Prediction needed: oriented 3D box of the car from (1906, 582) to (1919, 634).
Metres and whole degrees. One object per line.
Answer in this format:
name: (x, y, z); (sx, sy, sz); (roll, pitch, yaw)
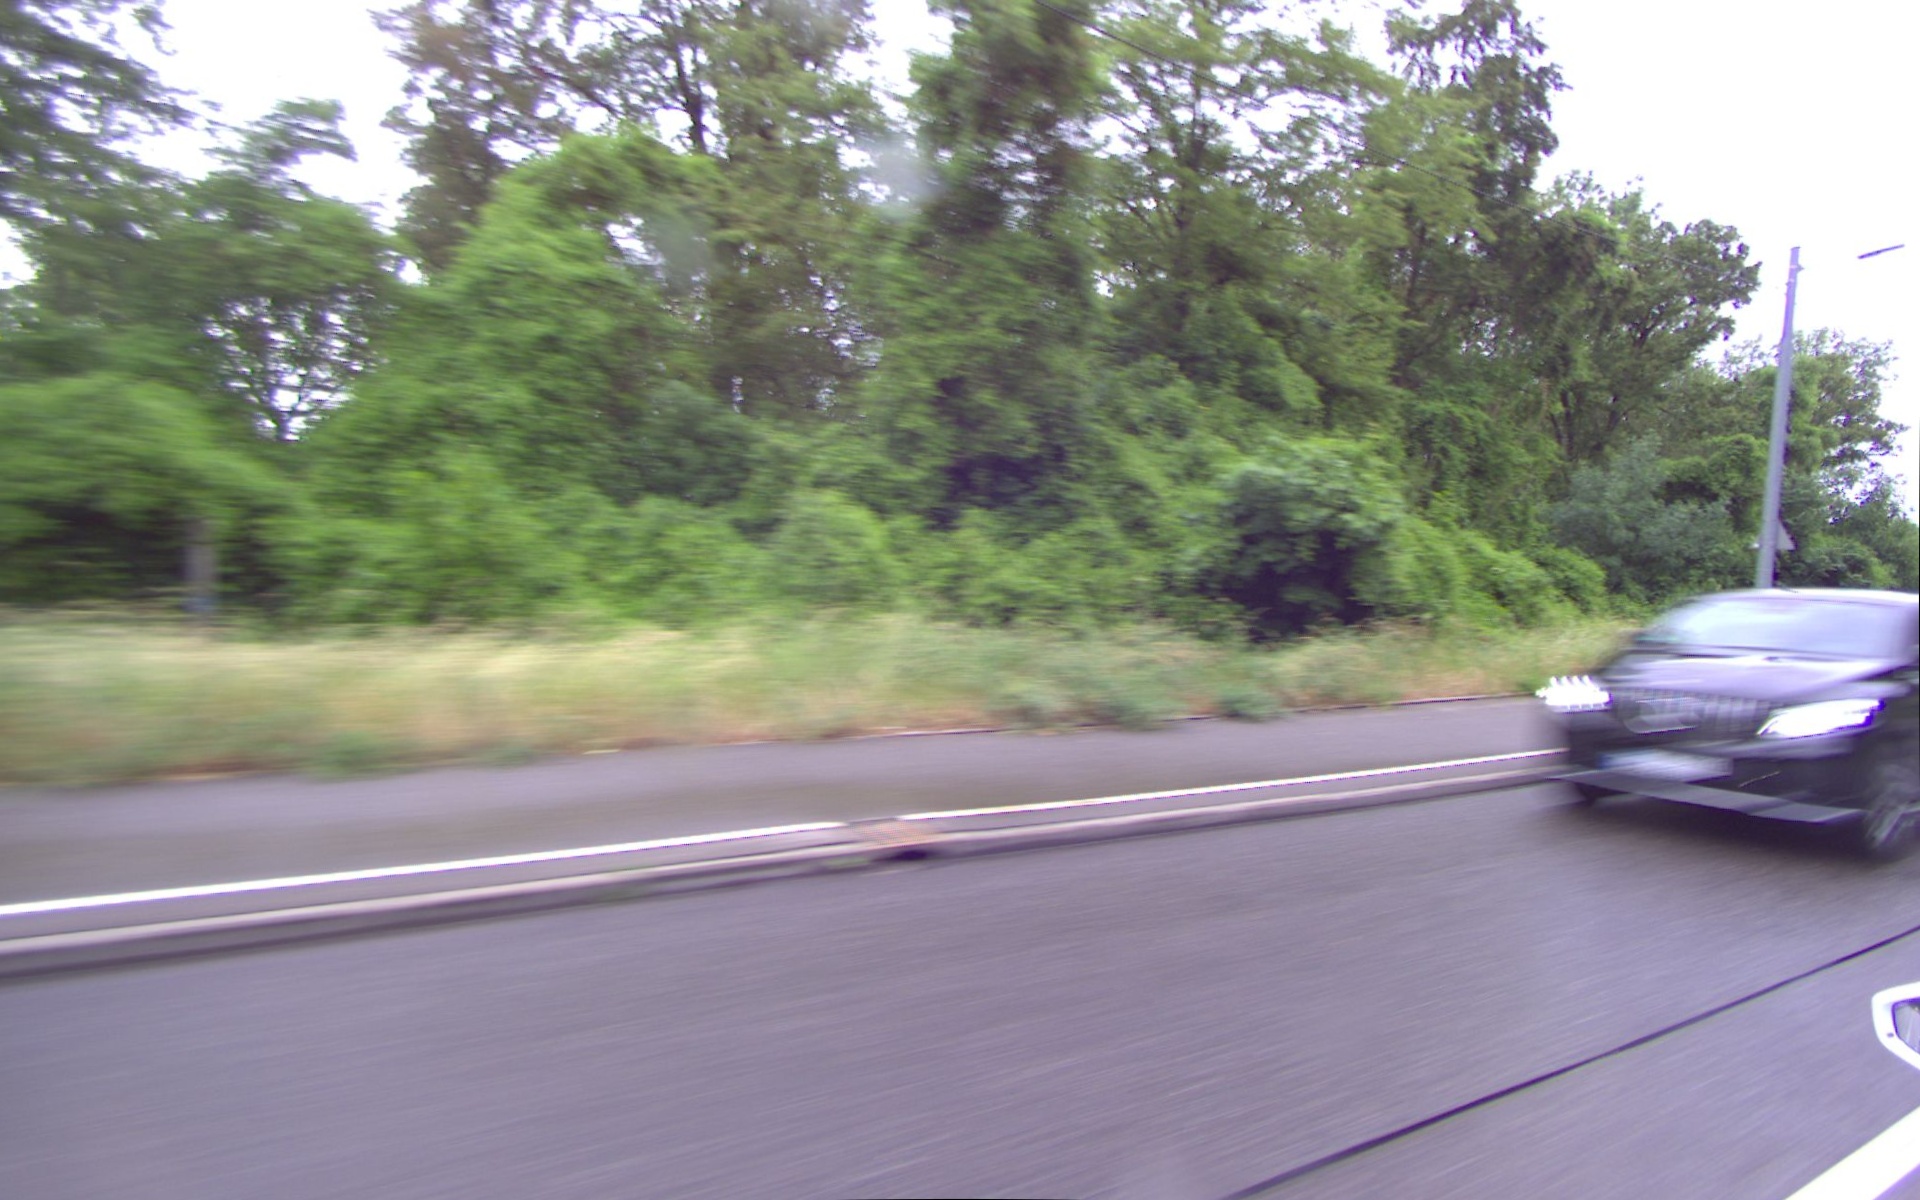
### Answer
car: (68.048, 0.621, 67.832); (5.879, 3.549, 1.990); (2, 1, 42)

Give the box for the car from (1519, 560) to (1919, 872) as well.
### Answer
car: (6.675, 0.692, 7.931); (4.657, 1.811, 1.982); (1, 1, -33)
